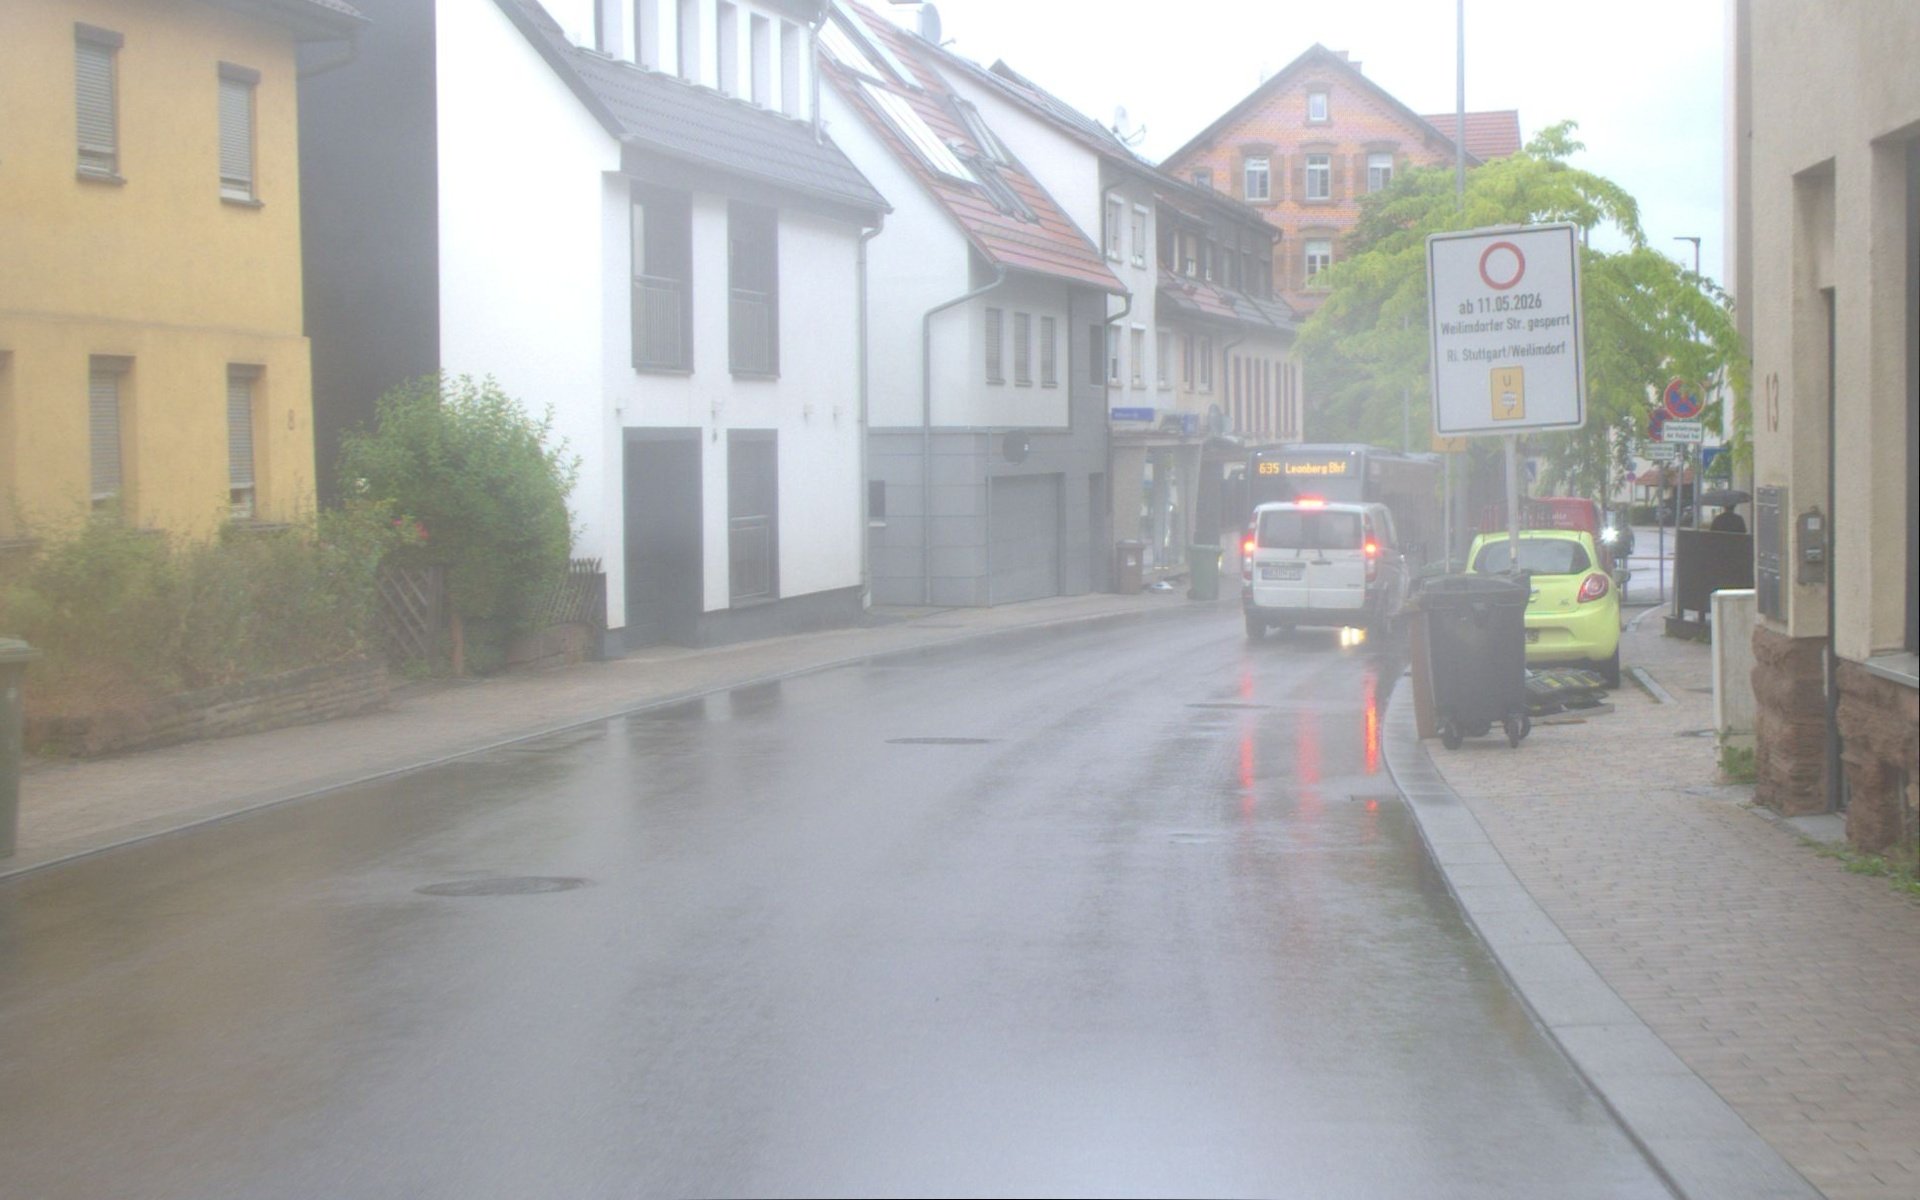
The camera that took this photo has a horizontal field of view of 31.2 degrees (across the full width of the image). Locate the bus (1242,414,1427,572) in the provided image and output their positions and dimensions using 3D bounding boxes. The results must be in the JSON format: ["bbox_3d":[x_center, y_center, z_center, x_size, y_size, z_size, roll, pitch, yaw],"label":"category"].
[{"bbox_3d":[8.081,-2.247,73.119,2.741,3.119,9.228,0,1,14],"label":"bus"}]

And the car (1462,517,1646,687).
[{"bbox_3d":[5.742,-0.016,33.283,1.603,1.479,3.300,-2,1,10],"label":"car"}]

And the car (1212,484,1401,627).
[{"bbox_3d":[4.821,-0.617,47.320,2.196,1.845,4.302,-1,1,11],"label":"car"}]

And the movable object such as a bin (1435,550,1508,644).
[{"bbox_3d":[6.089,-0.040,40.867,0.810,1.105,0.985,0,1,12],"label":"movable object such as a bin"}]

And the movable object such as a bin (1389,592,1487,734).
[{"bbox_3d":[3.575,0.467,25.692,0.707,1.042,0.517,0,1,10],"label":"movable object such as a bin"}]

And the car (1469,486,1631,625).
[{"bbox_3d":[7.869,-0.593,45.624,1.713,1.756,3.997,0,1,16],"label":"car"}]

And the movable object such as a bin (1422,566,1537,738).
[{"bbox_3d":[3.652,0.347,24.257,0.767,1.169,1.540,0,1,7],"label":"movable object such as a bin"}]

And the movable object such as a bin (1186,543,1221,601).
[{"bbox_3d":[4.754,-0.548,67.072,0.634,1.118,0.519,0,1,9],"label":"movable object such as a bin"}]

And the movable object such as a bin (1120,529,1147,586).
[{"bbox_3d":[3.460,-0.847,68.653,0.518,1.118,0.635,0,1,5],"label":"movable object such as a bin"}]

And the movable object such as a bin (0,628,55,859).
[{"bbox_3d":[-4.785,0.667,16.424,0.660,1.052,0.763,2,1,3],"label":"movable object such as a bin"}]
